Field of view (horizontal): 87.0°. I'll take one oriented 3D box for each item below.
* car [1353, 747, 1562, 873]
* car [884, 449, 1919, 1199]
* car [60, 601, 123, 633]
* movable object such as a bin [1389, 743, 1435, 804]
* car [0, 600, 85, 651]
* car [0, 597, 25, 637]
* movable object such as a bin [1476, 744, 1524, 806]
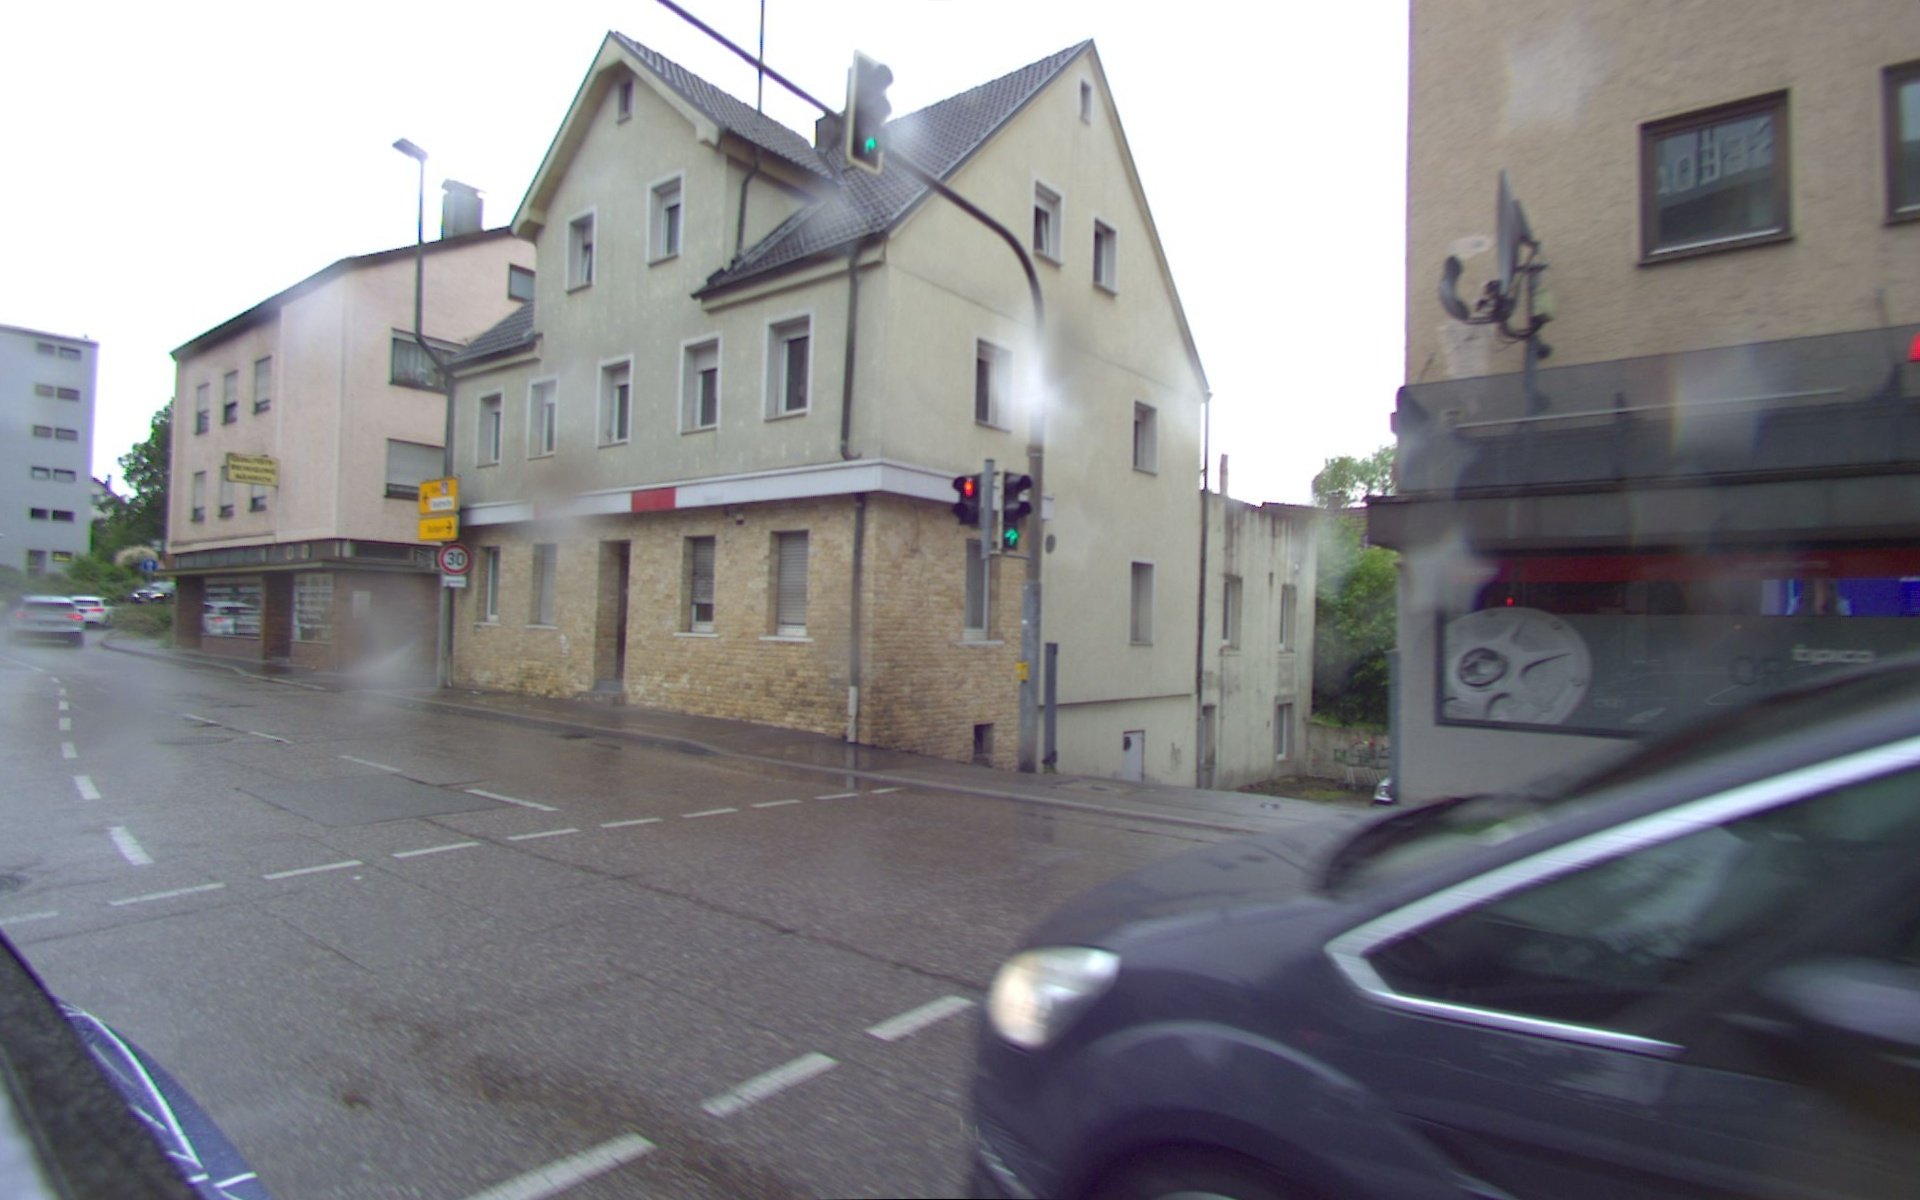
[{"bbox_3d":[7.582,3.102,15.250,1.731,1.494,3.809,-2,-9,44],"label":"car"},{"bbox_3d":[2.115,0.640,1.276,4.396,1.574,1.767,-1,-2,38],"label":"car"},{"bbox_3d":[-40.906,0.846,47.729,1.667,1.383,4.124,4,-4,-33],"label":"car"},{"bbox_3d":[9.742,3.721,21.811,0.747,1.174,0.724,-1,-4,41],"label":"movable object such as a bin"},{"bbox_3d":[-31.123,0.862,34.016,4.331,1.572,1.767,-1,-3,39],"label":"car"},{"bbox_3d":[-43.440,0.639,44.610,1.869,1.671,4.960,5,-6,-27],"label":"car"},{"bbox_3d":[11.380,3.677,21.317,0.747,1.174,0.724,-1,-4,41],"label":"movable object such as a bin"}]
